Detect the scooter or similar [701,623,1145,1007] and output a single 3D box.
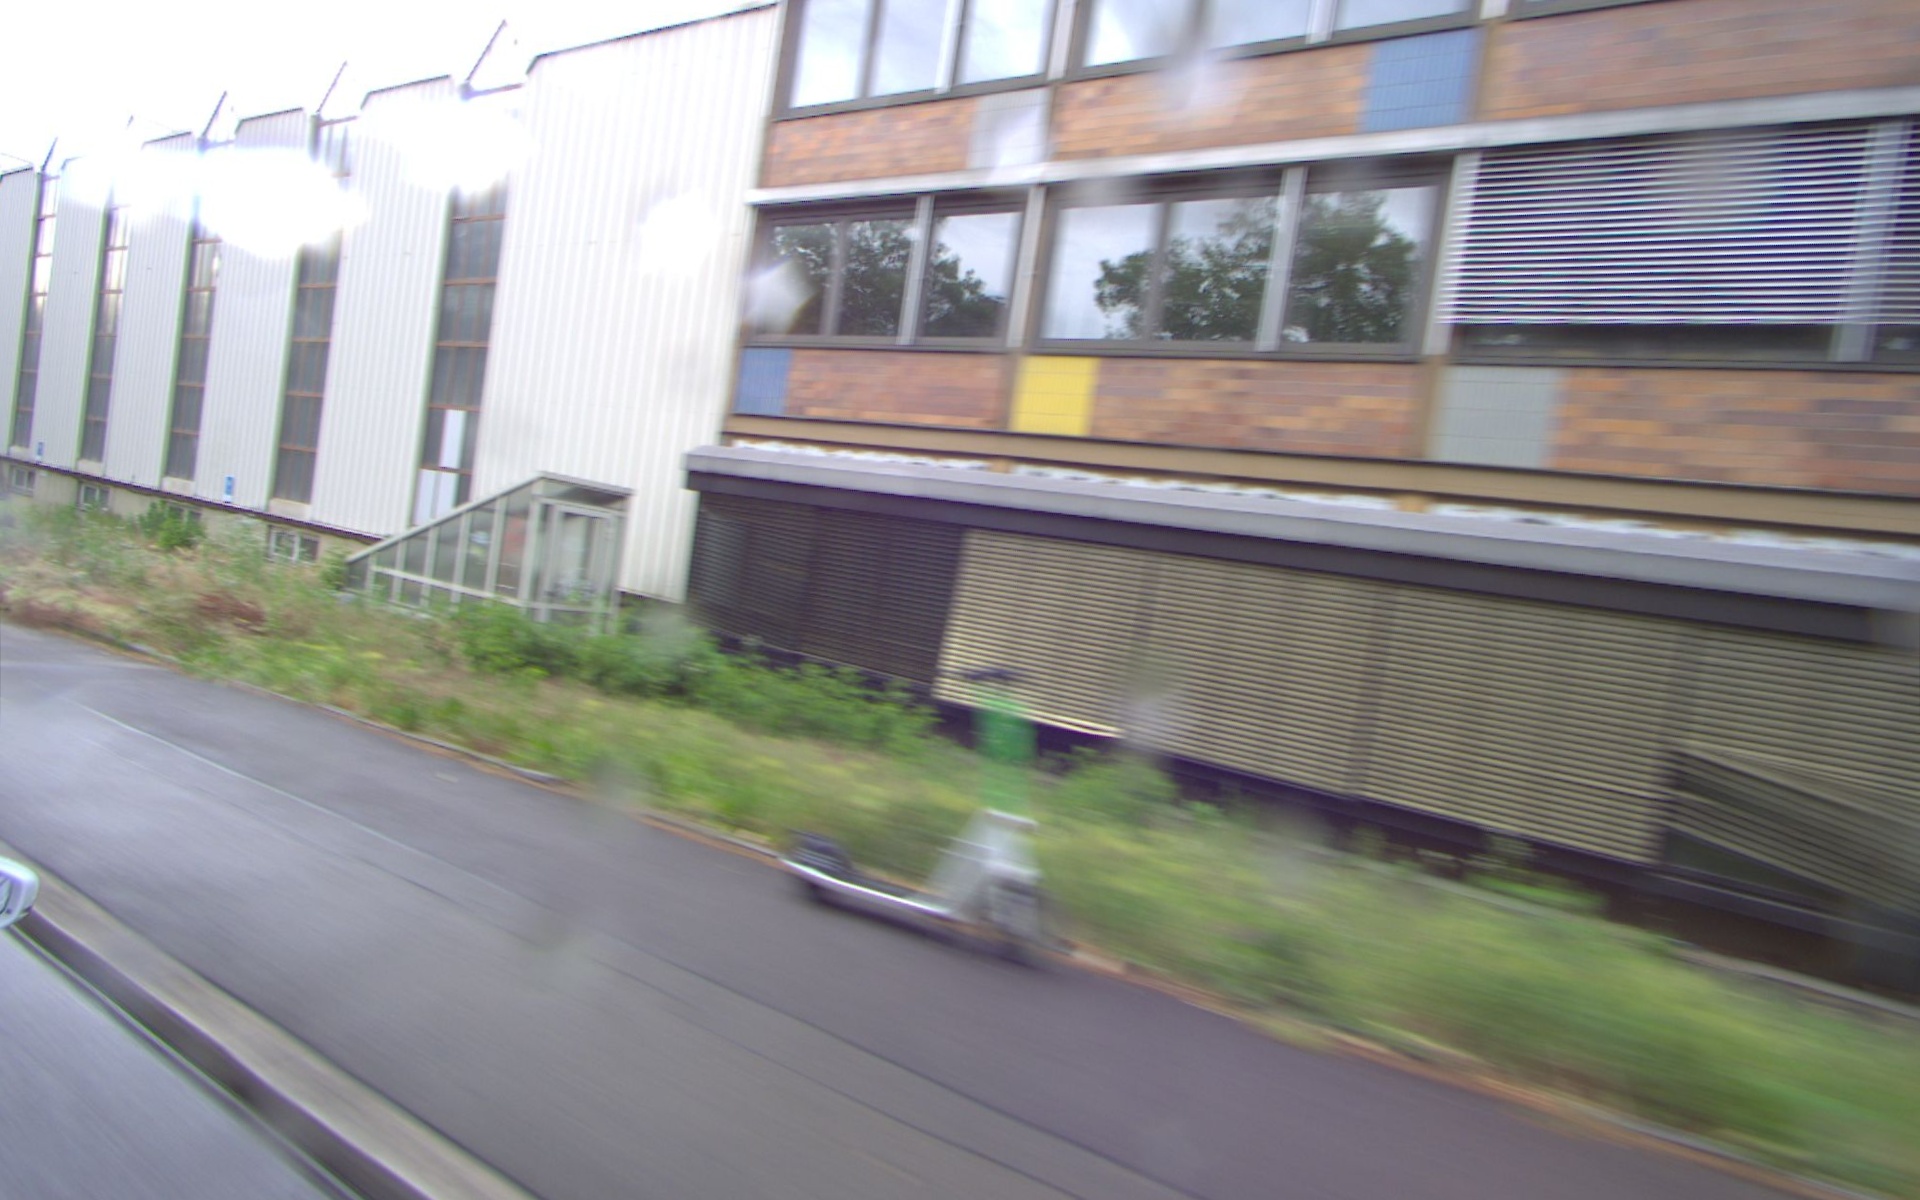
[{"bbox_3d":[-0.184,0.791,4.224,1.670,1.176,0.606,7,1,28],"label":"scooter or similar"}]
